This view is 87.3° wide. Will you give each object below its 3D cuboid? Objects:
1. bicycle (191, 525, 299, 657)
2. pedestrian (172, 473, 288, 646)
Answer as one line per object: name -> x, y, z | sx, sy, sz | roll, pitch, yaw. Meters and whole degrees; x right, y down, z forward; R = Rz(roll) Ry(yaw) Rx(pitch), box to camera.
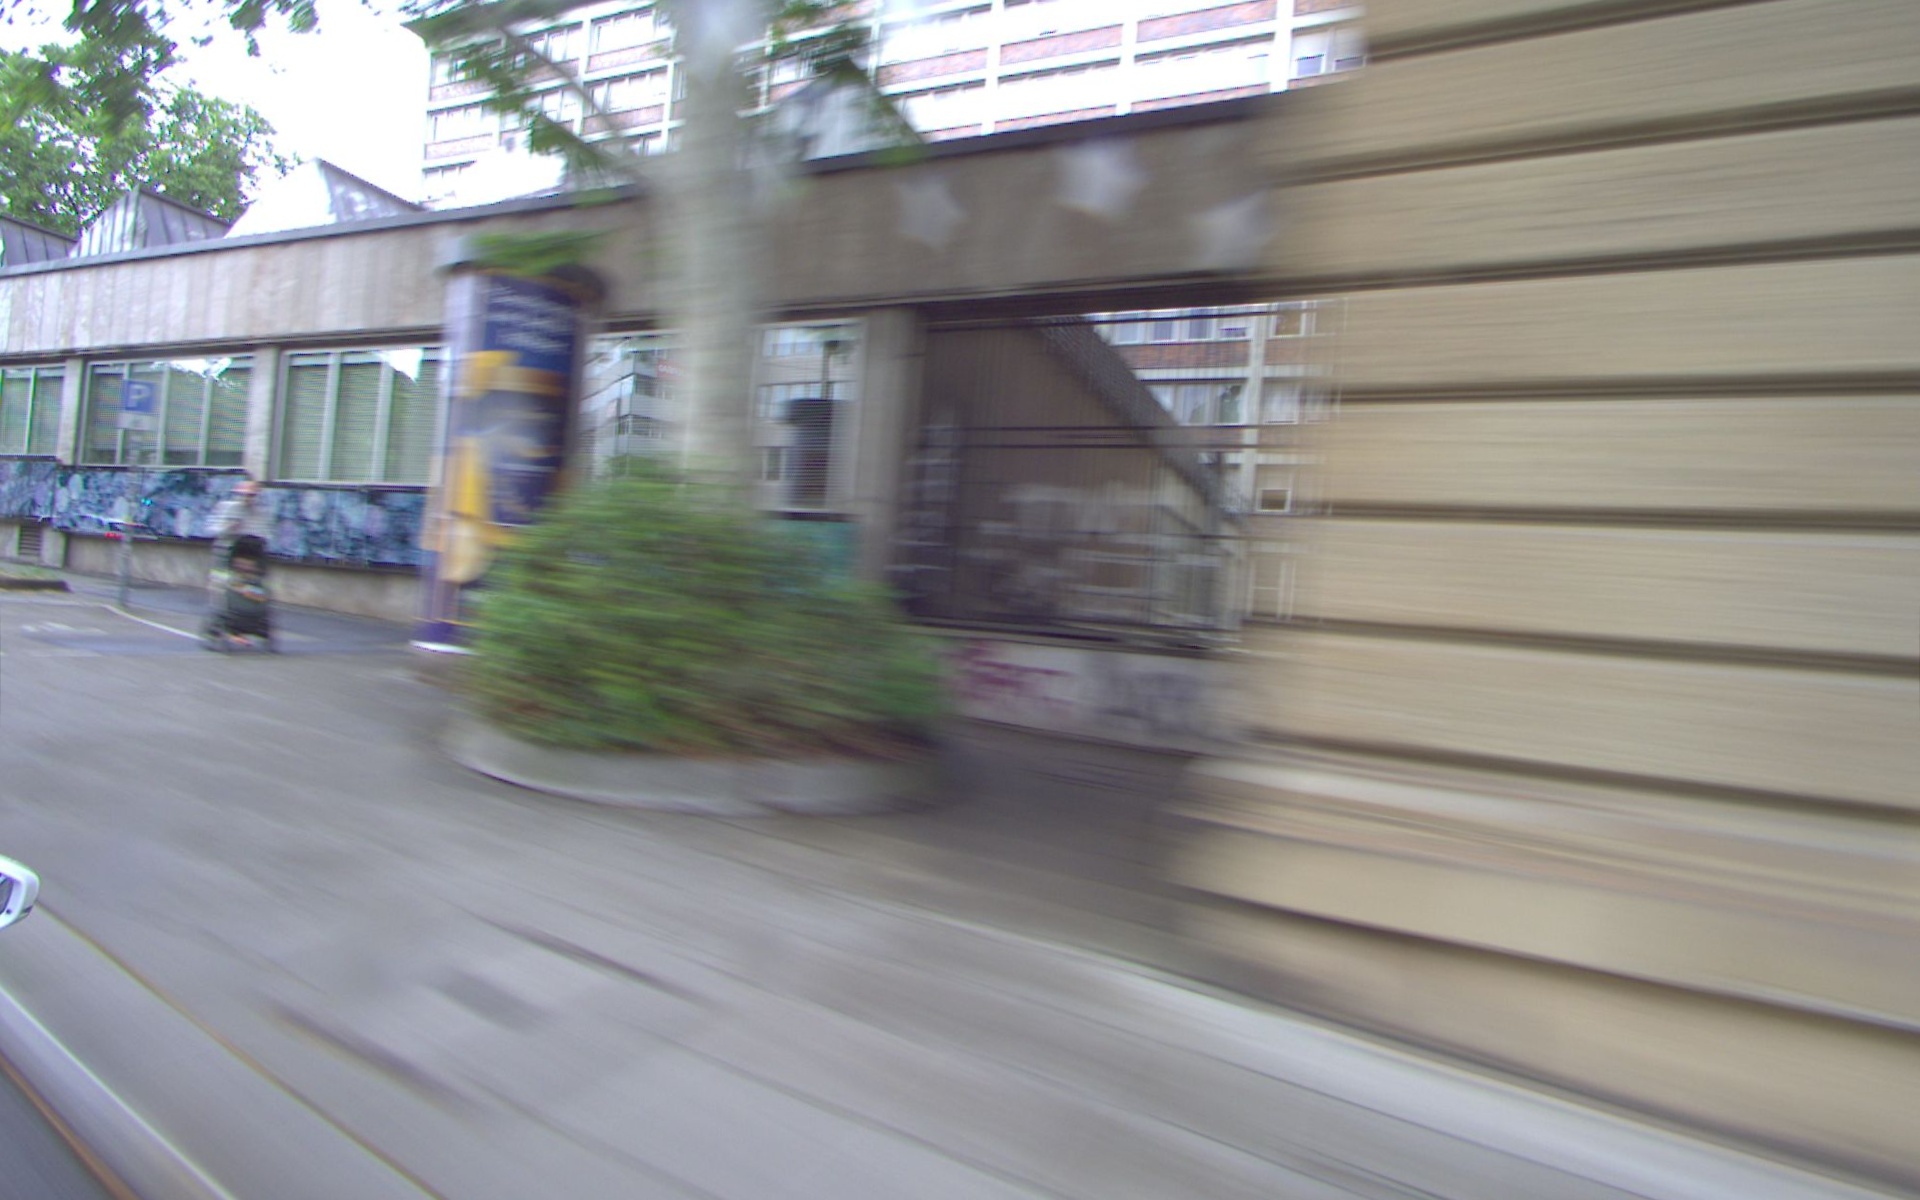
bicycle -> -7.273, -0.092, 10.228 | 0.897, 1.236, 0.618 | 7, 2, 40
pedestrian -> -7.929, -0.444, 10.925 | 1.004, 1.765, 0.717 | 7, 3, 39
